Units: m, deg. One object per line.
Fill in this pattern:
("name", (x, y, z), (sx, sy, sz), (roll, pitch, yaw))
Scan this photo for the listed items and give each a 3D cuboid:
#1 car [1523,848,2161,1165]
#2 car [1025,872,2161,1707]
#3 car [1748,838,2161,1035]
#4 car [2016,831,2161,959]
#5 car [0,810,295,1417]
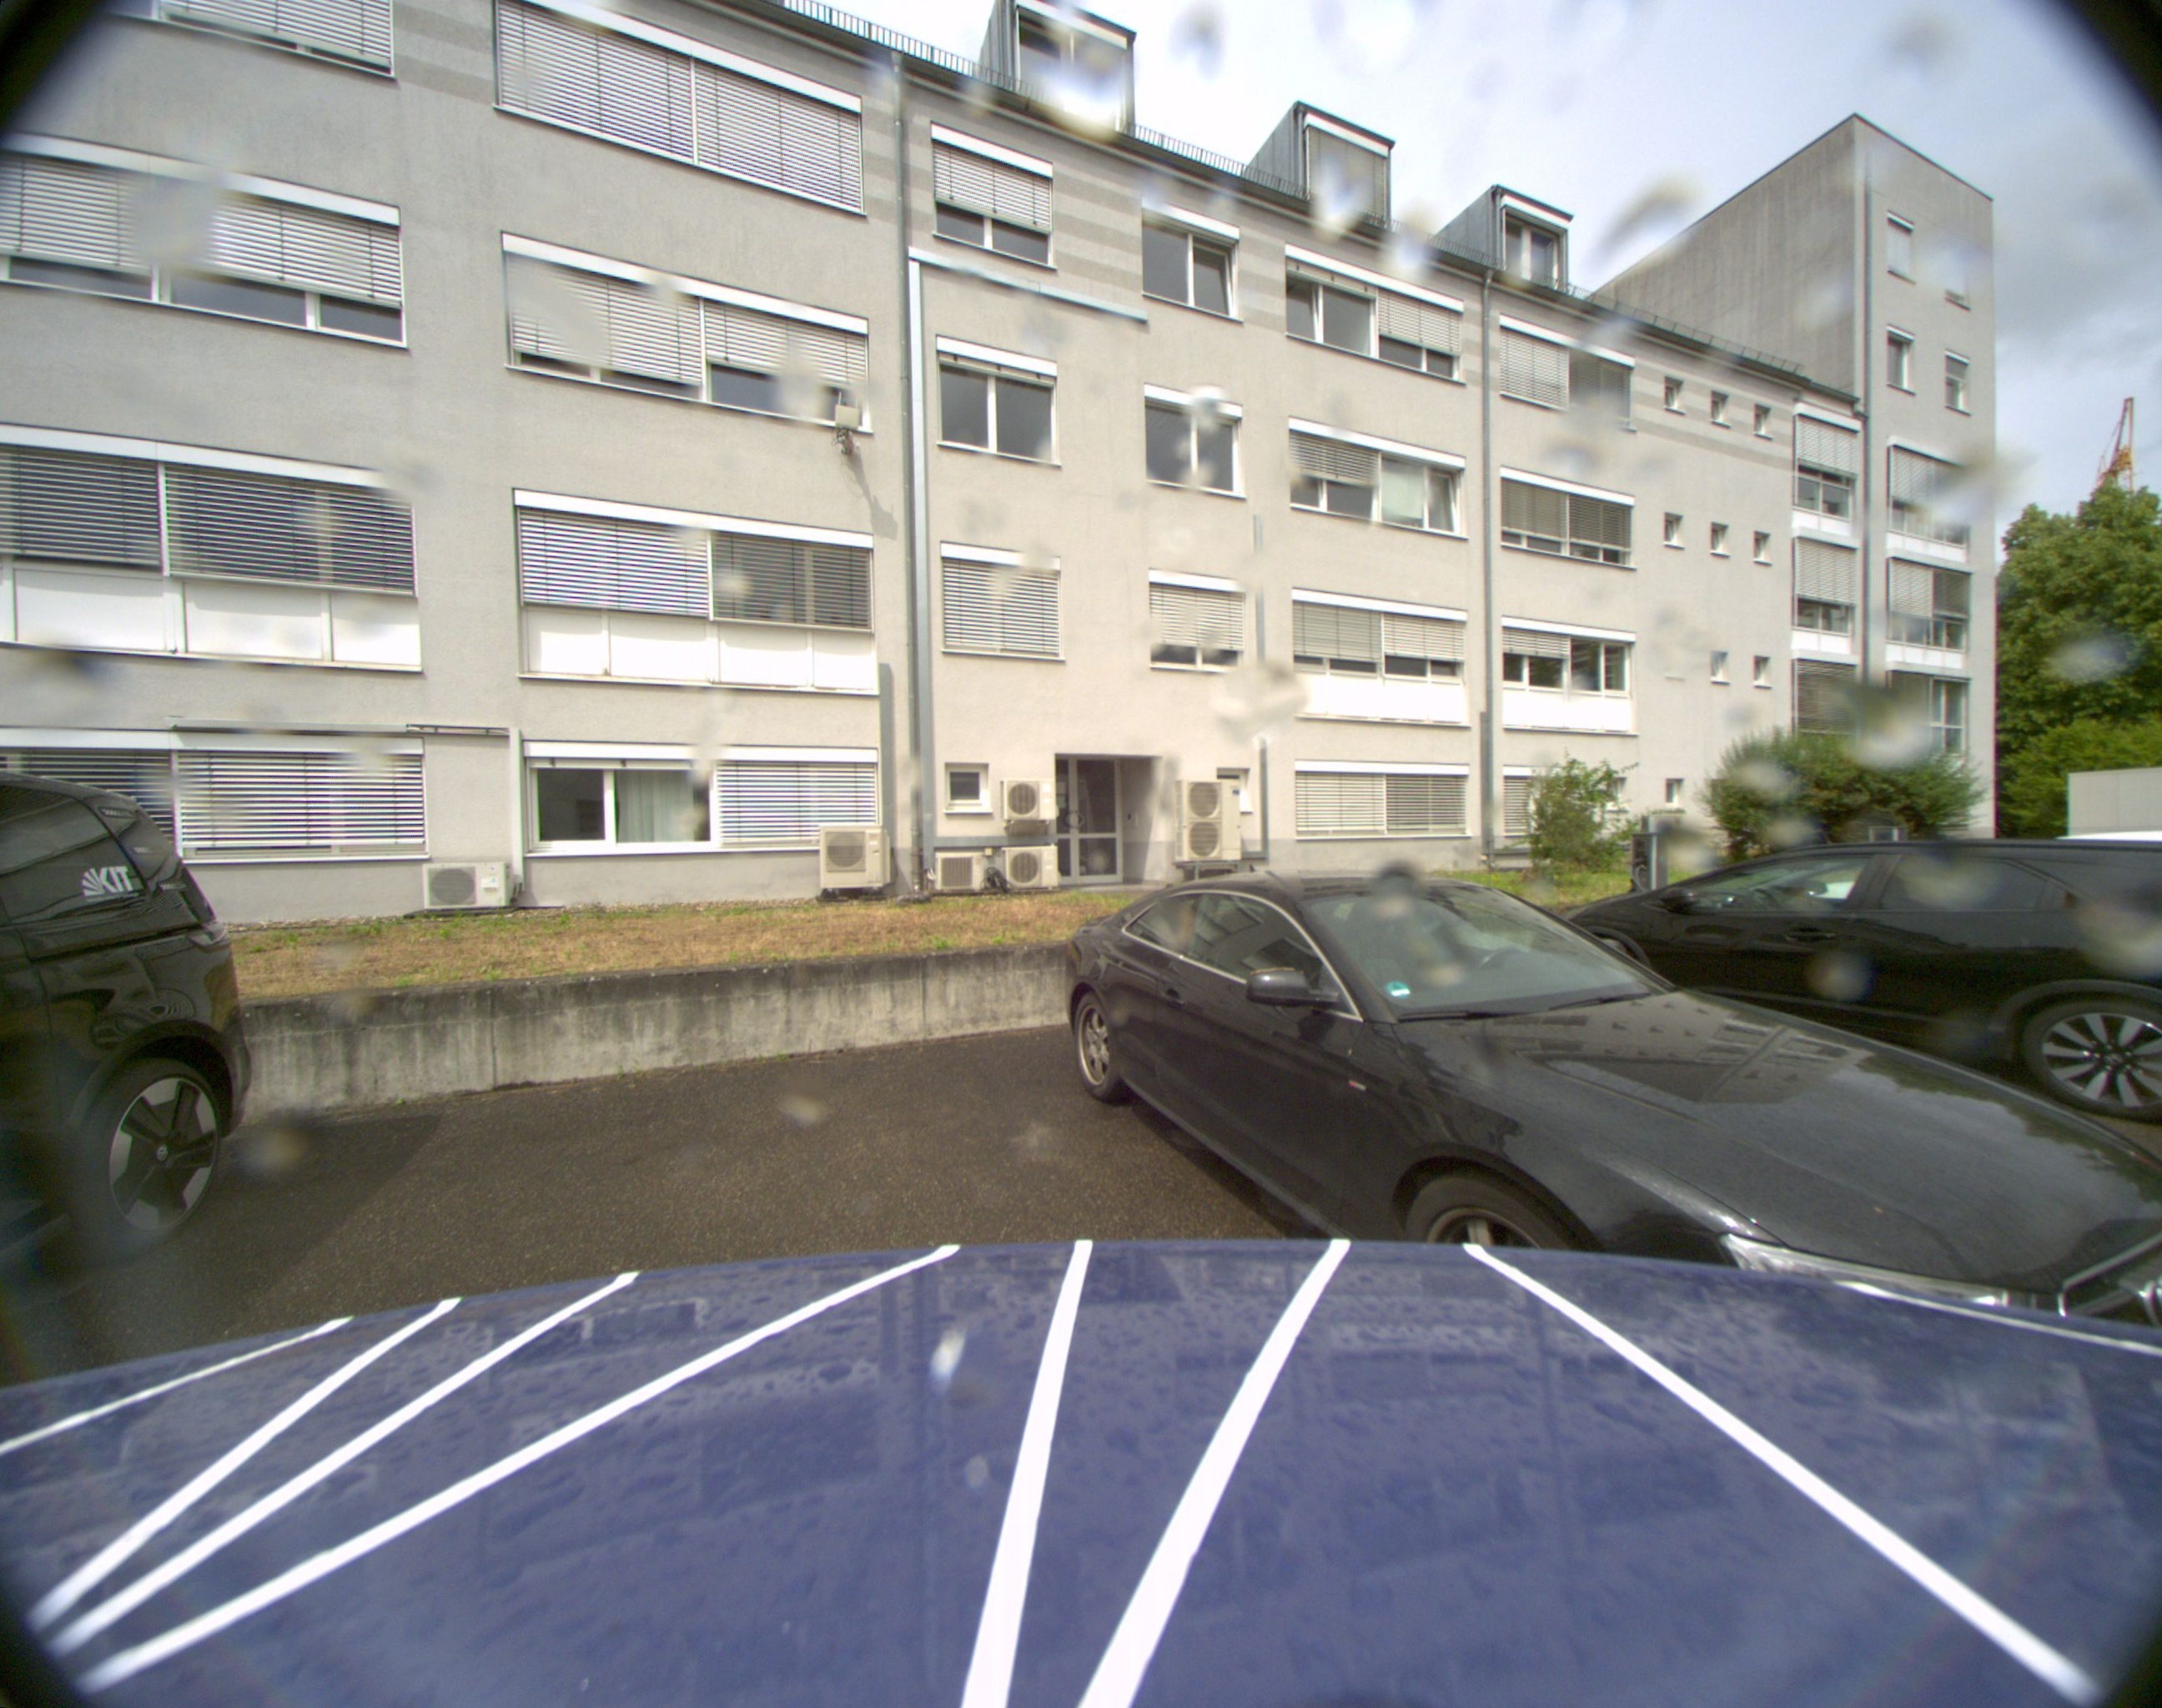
("car", (5.599, 0.740, 5.156), (1.765, 1.435, 4.306), (-2, 2, -22))
("car", (1.282, 0.892, 3.379), (1.765, 1.344, 4.520), (-2, 2, -21))
("car", (8.734, 0.609, 6.578), (1.698, 1.435, 4.117), (-2, 2, -21))
("car", (13.614, 0.482, 8.067), (1.765, 1.435, 4.306), (-2, 2, -22))
("car", (-3.924, 0.841, 1.169), (1.972, 1.854, 4.738), (-2, 2, -23))
